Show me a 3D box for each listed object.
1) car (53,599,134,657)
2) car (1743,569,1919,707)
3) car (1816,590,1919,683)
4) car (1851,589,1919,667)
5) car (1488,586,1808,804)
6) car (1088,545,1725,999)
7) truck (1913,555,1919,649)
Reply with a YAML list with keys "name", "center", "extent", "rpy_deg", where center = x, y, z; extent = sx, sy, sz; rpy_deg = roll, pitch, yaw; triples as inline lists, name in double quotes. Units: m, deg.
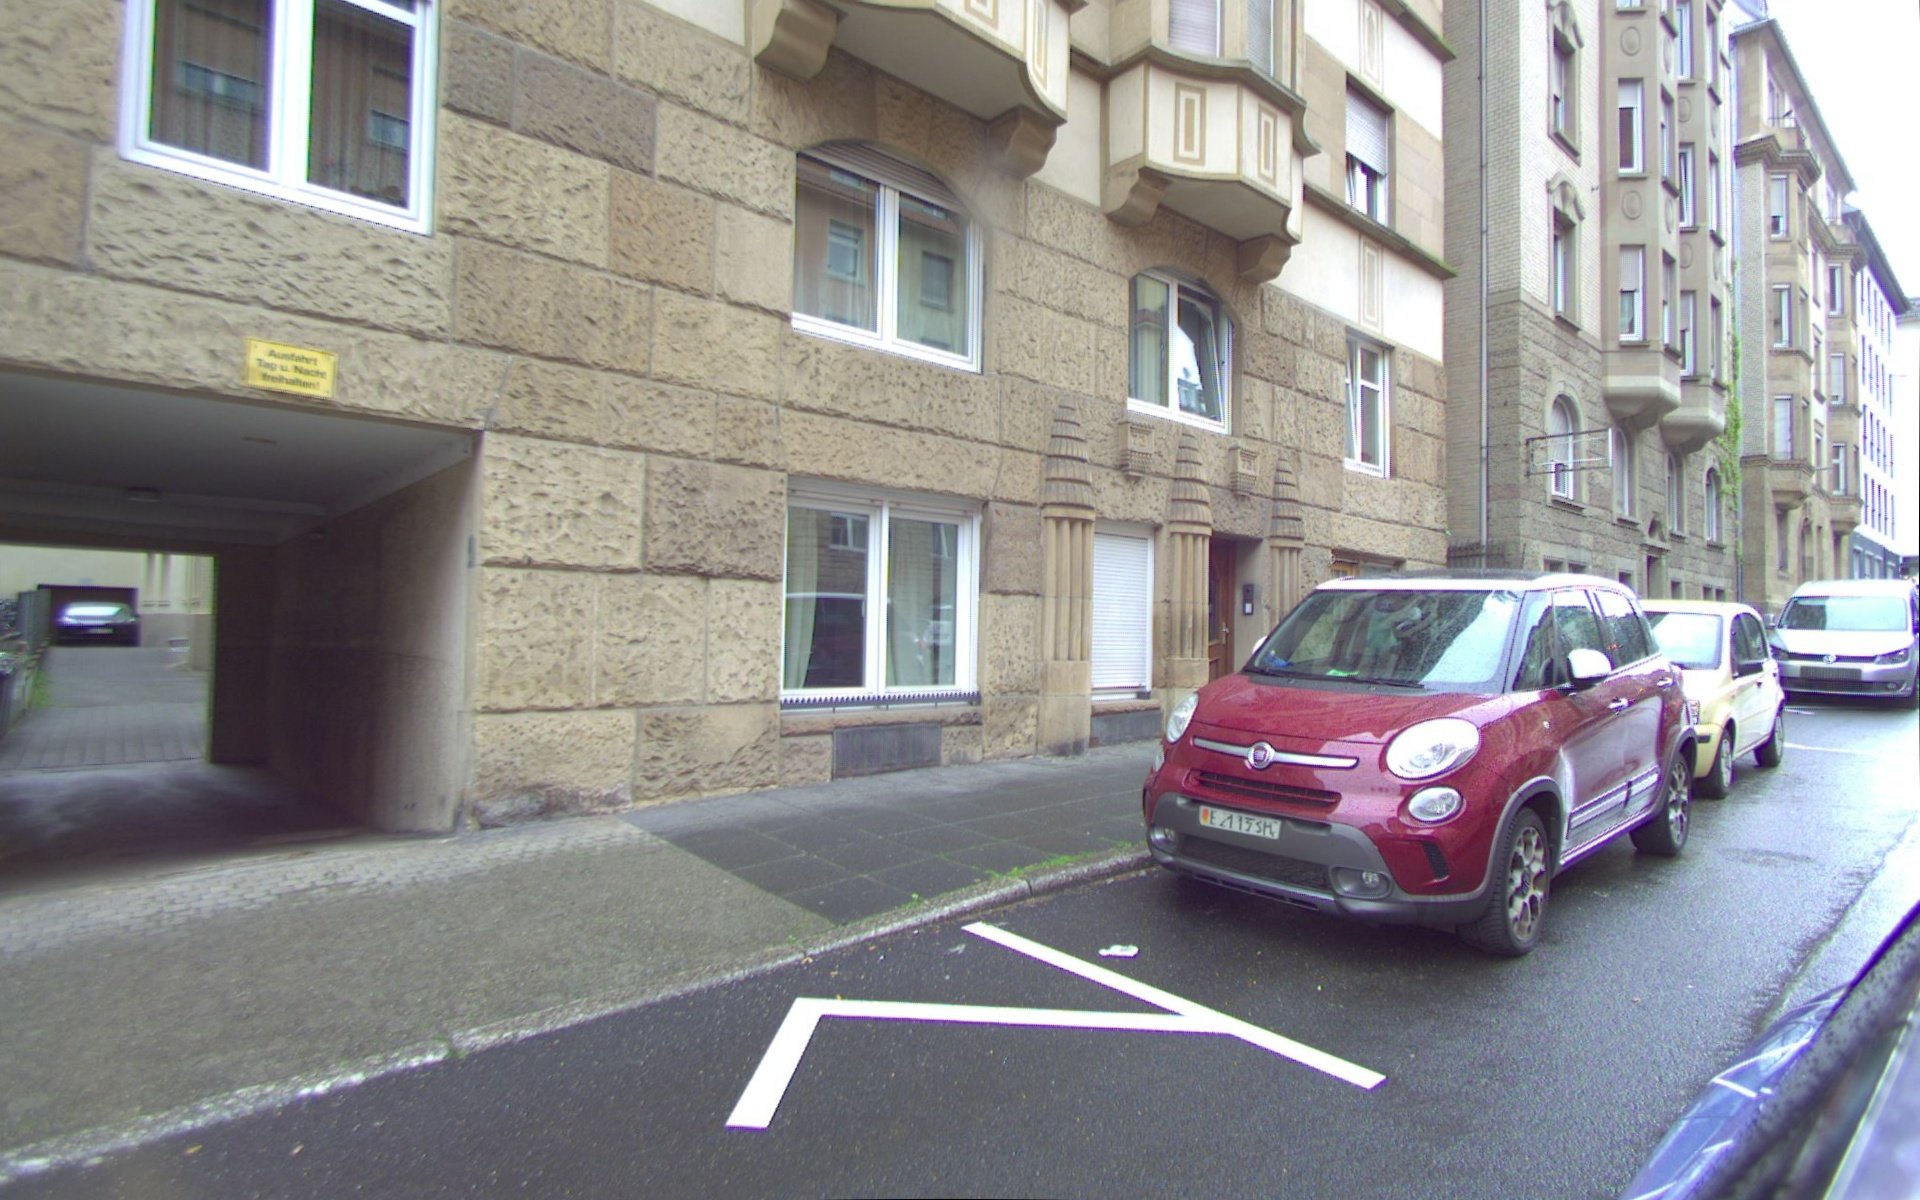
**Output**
- name: "car"
  center: [-25.182, 0.772, 29.449]
  extent: [1.692, 1.541, 4.098]
  rpy_deg: [0, -1, -41]
- name: "car"
  center: [13.767, 0.506, 15.504]
  extent: [4.380, 1.825, 1.966]
  rpy_deg: [0, -1, -41]
- name: "car"
  center: [17.175, 0.606, 18.495]
  extent: [3.934, 1.549, 1.994]
  rpy_deg: [0, -1, -45]
- name: "car"
  center: [20.481, 0.553, 21.435]
  extent: [3.860, 1.549, 1.889]
  rpy_deg: [0, -1, -41]
- name: "car"
  center: [6.204, 0.681, 8.986]
  extent: [3.517, 1.549, 1.578]
  rpy_deg: [0, -1, -43]
- name: "car"
  center: [2.683, 0.617, 5.624]
  extent: [3.932, 1.619, 1.804]
  rpy_deg: [0, -1, -42]
- name: "truck"
  center: [29.166, 0.029, 28.874]
  extent: [6.036, 2.568, 2.233]
  rpy_deg: [0, -1, -41]
